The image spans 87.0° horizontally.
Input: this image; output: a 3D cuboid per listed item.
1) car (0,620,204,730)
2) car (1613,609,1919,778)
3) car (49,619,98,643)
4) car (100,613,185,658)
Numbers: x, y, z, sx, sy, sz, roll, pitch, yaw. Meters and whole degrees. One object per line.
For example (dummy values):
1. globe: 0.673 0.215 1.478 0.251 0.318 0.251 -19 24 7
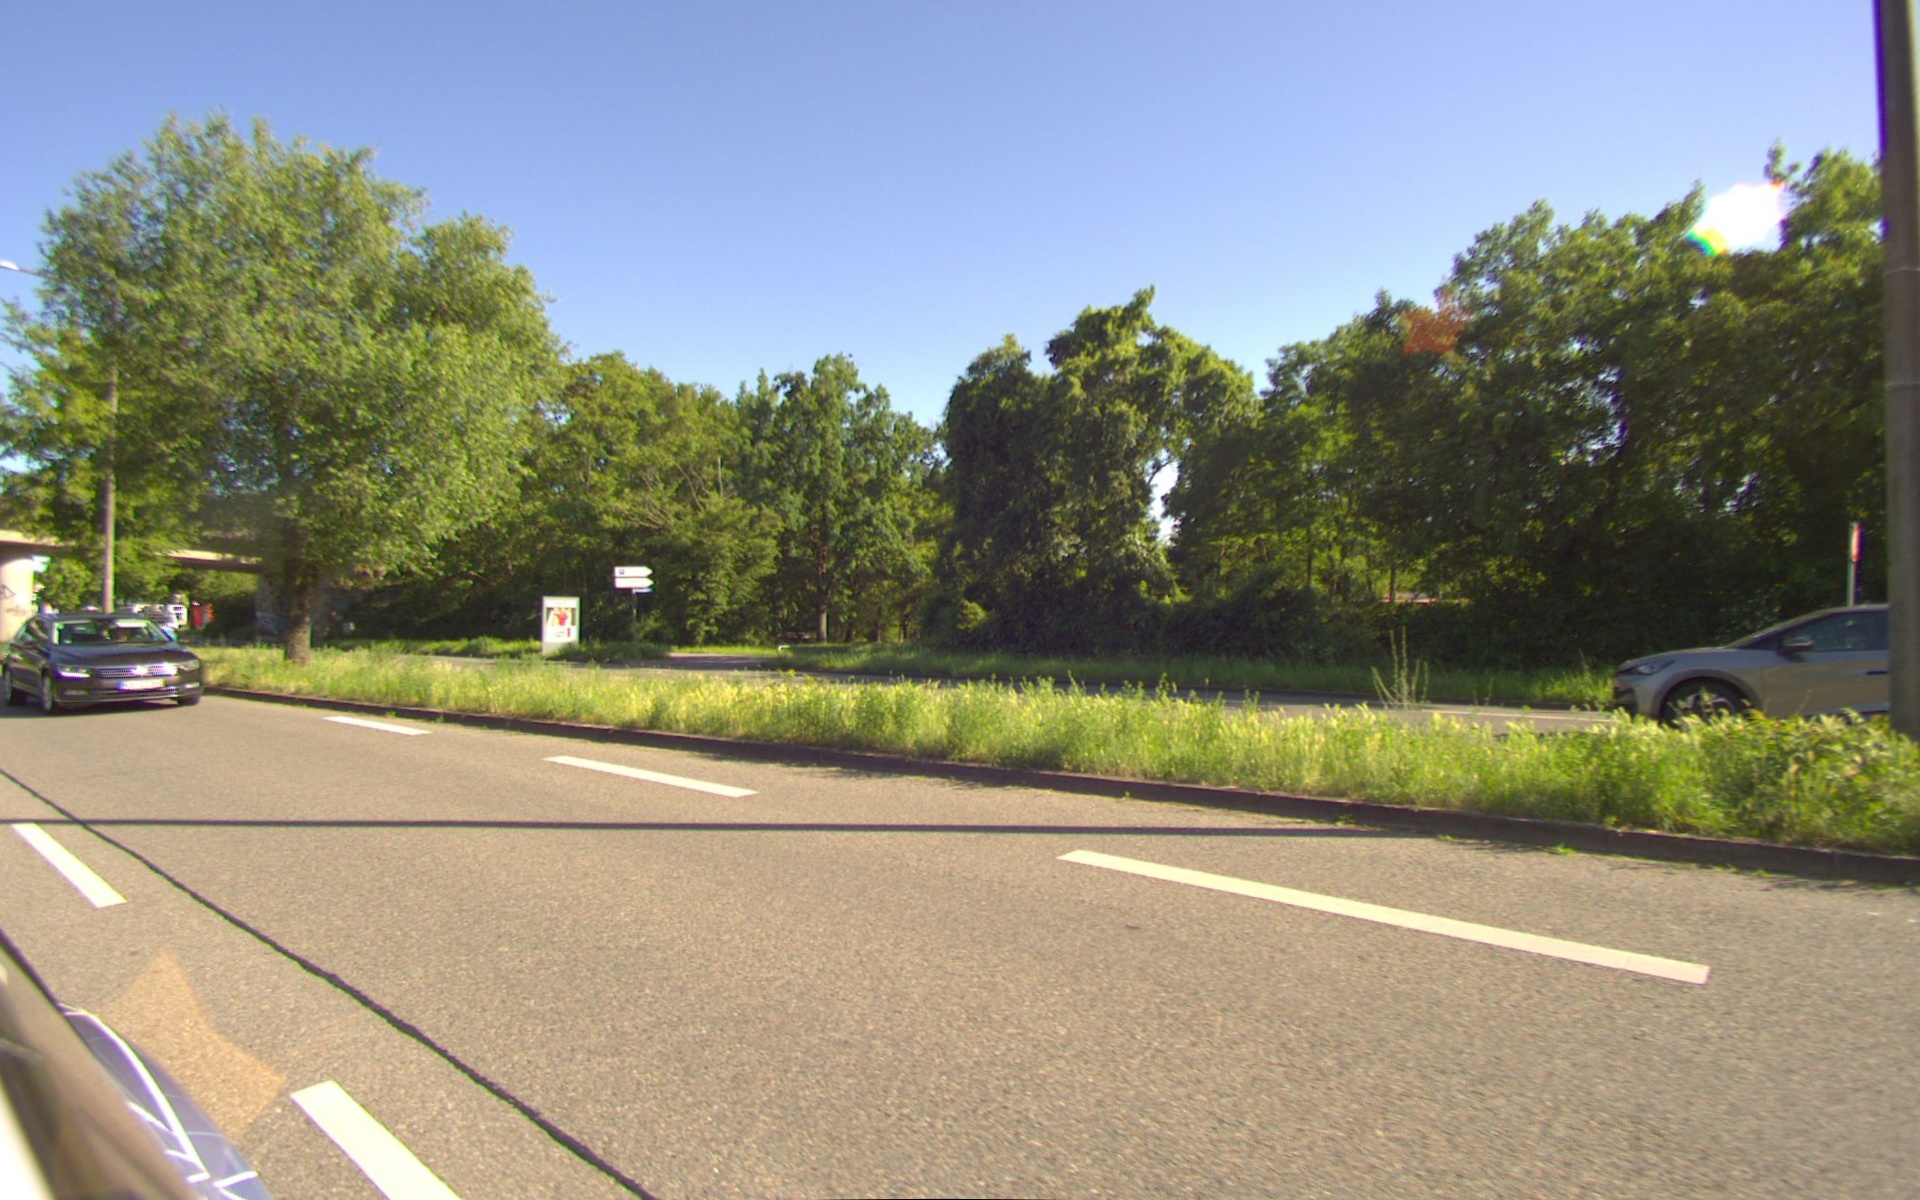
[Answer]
1. car: -13.417 1.045 15.642 4.261 1.464 1.825 -1 -2 40
2. car: 9.747 0.926 10.761 4.611 1.652 1.795 -1 -1 37
3. car: -62.958 2.164 71.870 4.589 1.564 1.962 -1 -1 40
4. car: -37.737 1.606 46.687 5.240 1.944 1.974 -1 -2 39
